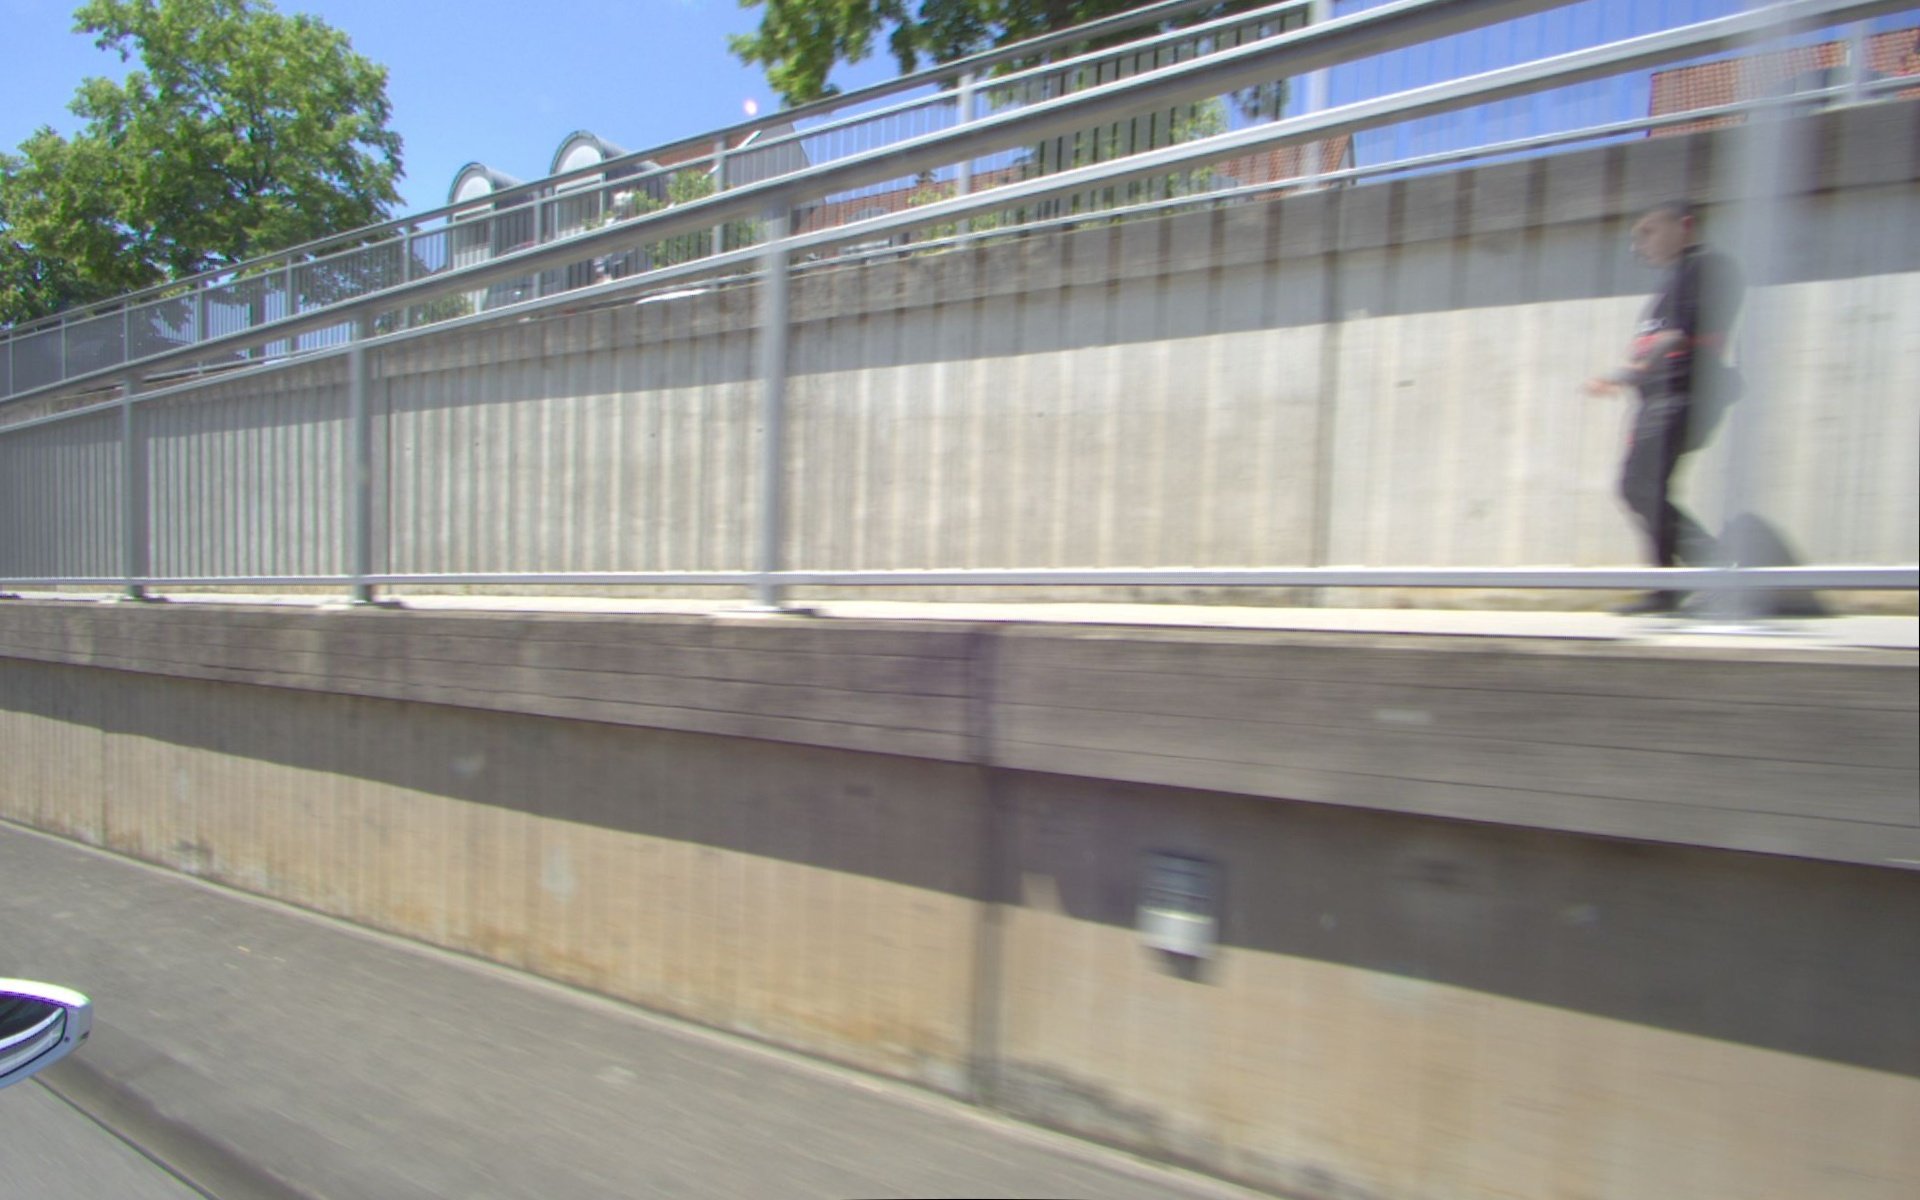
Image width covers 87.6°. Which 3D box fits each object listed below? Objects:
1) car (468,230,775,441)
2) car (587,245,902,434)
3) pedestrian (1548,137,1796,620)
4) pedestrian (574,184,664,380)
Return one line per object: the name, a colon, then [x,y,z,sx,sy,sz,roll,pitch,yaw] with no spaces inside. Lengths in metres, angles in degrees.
car: [-4.581,-3.496,14.085,1.661,1.911,3.897,3,2,33]
car: [-2.571,-3.127,12.779,1.661,1.386,3.897,3,2,33]
pedestrian: [3.010,-0.829,4.322,0.777,1.806,0.834,1,1,32]
pedestrian: [-3.621,-3.332,10.646,0.585,1.804,0.671,3,3,33]
